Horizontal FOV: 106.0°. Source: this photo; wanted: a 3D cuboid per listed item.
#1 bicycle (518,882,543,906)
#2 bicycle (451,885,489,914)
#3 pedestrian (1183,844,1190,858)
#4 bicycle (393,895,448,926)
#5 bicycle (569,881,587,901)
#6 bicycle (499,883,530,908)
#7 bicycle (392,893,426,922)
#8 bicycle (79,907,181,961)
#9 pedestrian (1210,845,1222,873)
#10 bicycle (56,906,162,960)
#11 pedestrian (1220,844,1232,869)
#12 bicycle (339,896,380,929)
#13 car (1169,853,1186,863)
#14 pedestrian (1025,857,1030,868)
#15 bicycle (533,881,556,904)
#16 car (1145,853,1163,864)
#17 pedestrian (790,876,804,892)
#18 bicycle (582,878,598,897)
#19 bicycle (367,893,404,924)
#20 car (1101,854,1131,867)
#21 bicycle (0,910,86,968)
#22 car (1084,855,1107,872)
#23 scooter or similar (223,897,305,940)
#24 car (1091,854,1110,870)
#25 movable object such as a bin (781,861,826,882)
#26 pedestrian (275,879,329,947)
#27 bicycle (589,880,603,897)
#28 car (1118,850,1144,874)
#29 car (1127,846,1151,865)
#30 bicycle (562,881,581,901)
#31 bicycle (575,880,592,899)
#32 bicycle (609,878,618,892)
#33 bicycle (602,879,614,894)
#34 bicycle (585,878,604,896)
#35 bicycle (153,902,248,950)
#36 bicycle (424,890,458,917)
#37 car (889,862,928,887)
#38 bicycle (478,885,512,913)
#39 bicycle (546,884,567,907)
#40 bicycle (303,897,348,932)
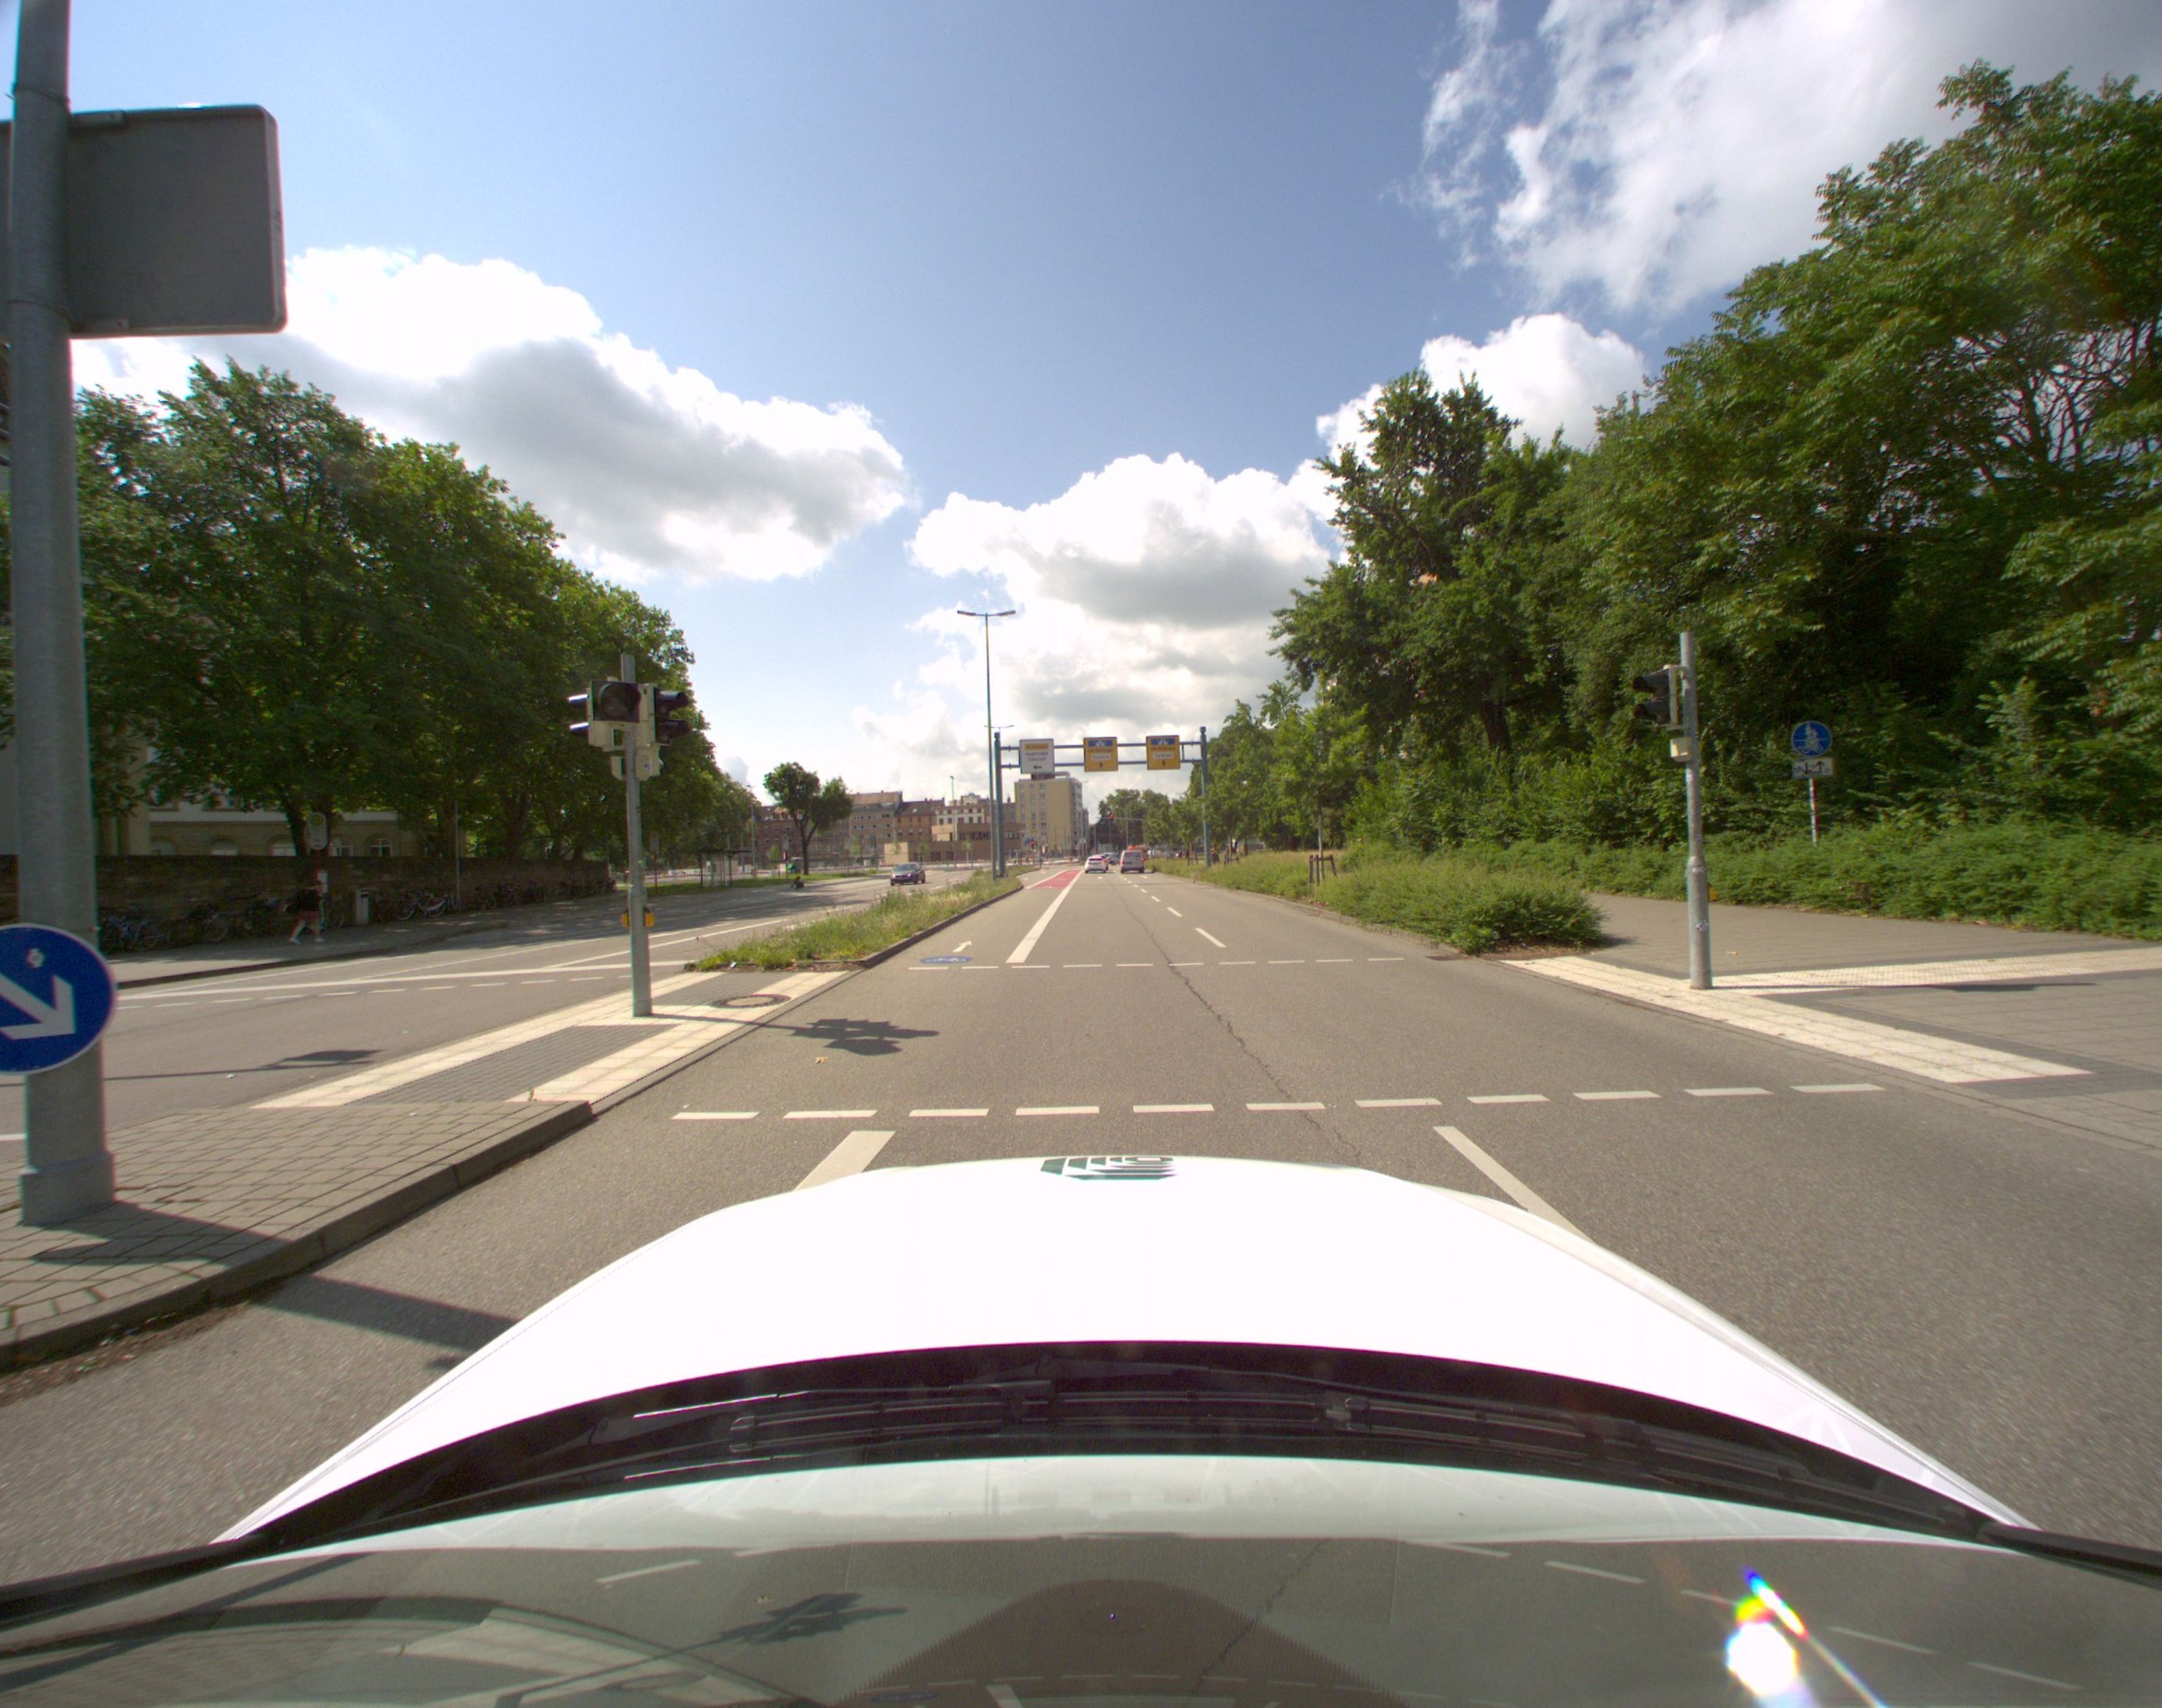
[{"bbox_3d":[-26.292,1.886,38.934,0.584,1.073,1.743,-2,0,-21],"label":"bicycle"},{"bbox_3d":[-24.685,1.818,32.922,0.583,1.073,1.746,-2,0,-15],"label":"bicycle"},{"bbox_3d":[13.259,-0.357,102.045,0.739,1.735,0.679,-2,-1,4],"label":"pedestrian"},{"bbox_3d":[-22.980,1.938,28.355,0.364,0.955,1.629,-2,0,9],"label":"bicycle"},{"bbox_3d":[-29.379,2.144,47.554,0.584,1.073,1.620,-2,0,-21],"label":"bicycle"},{"bbox_3d":[-25.785,1.882,37.081,0.583,1.073,1.746,-2,0,-17],"label":"bicycle"},{"bbox_3d":[-23.941,1.899,29.040,0.367,0.955,1.395,-2,0,-15],"label":"bicycle"},{"bbox_3d":[-21.680,1.796,18.618,0.372,1.048,1.875,-2,0,-9],"label":"bicycle"},{"bbox_3d":[8.650,0.308,52.204,0.565,1.802,0.639,-2,0,0],"label":"pedestrian"},{"bbox_3d":[-22.069,1.759,18.538,0.394,1.048,1.875,-2,0,-9],"label":"bicycle"},{"bbox_3d":[9.371,0.158,52.631,0.621,1.581,0.708,-2,0,0],"label":"pedestrian"},{"bbox_3d":[-23.237,1.882,26.242,0.367,0.955,1.395,-2,0,-15],"label":"bicycle"},{"bbox_3d":[18.844,0.718,159.352,1.975,1.826,4.024,-3,-1,26],"label":"car"},{"bbox_3d":[-8.028,1.284,123.010,0.521,1.733,0.625,-2,-1,10],"label":"pedestrian"},{"bbox_3d":[-26.797,1.916,40.704,0.584,1.073,1.743,-2,0,-21],"label":"bicycle"},{"bbox_3d":[14.303,0.927,158.837,1.987,1.966,4.665,-3,-1,25],"label":"car"},{"bbox_3d":[-18.523,1.957,53.117,0.692,0.963,0.742,-2,0,-1],"label":"pedestrian"},{"bbox_3d":[-30.581,2.080,50.742,0.584,1.073,1.620,-2,0,-21],"label":"bicycle"},{"bbox_3d":[-23.594,1.839,27.640,0.367,0.955,1.395,-2,0,-15],"label":"bicycle"},{"bbox_3d":[5.001,0.943,116.044,4.018,1.816,1.978,1,-1,-37],"label":"car"},{"bbox_3d":[-21.482,1.721,16.691,0.594,1.048,1.866,-2,0,-25],"label":"bicycle"},{"bbox_3d":[1.280,0.805,71.071,1.897,1.424,4.386,-2,0,2],"label":"car"},{"bbox_3d":[-22.633,1.764,22.612,0.580,1.048,1.875,-2,0,-9],"label":"scooter or similar"},{"bbox_3d":[1.937,0.785,80.219,1.784,1.539,4.012,-1,0,1],"label":"car"},{"bbox_3d":[-39.729,2.486,116.535,2.259,2.885,5.576,-3,-1,44],"label":"movable object such as a bin"},{"bbox_3d":[-19.473,1.459,20.375,0.655,1.610,0.742,-1,-1,-8],"label":"pedestrian"},{"bbox_3d":[-32.287,2.288,54.228,0.472,1.011,1.950,-2,0,-20],"label":"bicycle"},{"bbox_3d":[4.162,0.666,67.886,1.935,1.870,4.827,-2,0,2],"label":"car"},{"bbox_3d":[9.046,0.206,127.195,2.110,2.781,4.665,-3,-1,25],"label":"car"},{"bbox_3d":[-28.774,2.081,46.006,0.584,1.073,1.620,-2,0,-21],"label":"bicycle"},{"bbox_3d":[-29.986,2.135,49.122,0.584,1.073,1.620,-2,0,-21],"label":"bicycle"},{"bbox_3d":[-34.960,2.307,60.904,0.353,1.011,1.246,-2,0,-20],"label":"bicycle"},{"bbox_3d":[-33.965,2.324,58.542,0.472,1.011,1.446,-2,0,-20],"label":"bicycle"},{"bbox_3d":[-31.300,2.139,52.428,0.583,1.073,1.859,-2,0,-17],"label":"bicycle"},{"bbox_3d":[-22.302,1.794,20.674,0.580,1.048,1.875,-2,0,-9],"label":"bicycle"},{"bbox_3d":[-24.362,1.868,31.027,0.370,0.955,1.618,-2,0,-15],"label":"bicycle"},{"bbox_3d":[-11.637,1.356,55.113,1.695,1.445,4.145,-3,0,0],"label":"car"},{"bbox_3d":[-25.285,1.926,35.182,0.583,1.073,1.746,-2,0,-15],"label":"bicycle"},{"bbox_3d":[-27.430,2.157,42.606,0.584,1.073,1.743,-2,0,-21],"label":"bicycle"},{"bbox_3d":[-22.948,1.813,24.766,0.367,0.955,1.395,-2,0,-15],"label":"bicycle"}]
